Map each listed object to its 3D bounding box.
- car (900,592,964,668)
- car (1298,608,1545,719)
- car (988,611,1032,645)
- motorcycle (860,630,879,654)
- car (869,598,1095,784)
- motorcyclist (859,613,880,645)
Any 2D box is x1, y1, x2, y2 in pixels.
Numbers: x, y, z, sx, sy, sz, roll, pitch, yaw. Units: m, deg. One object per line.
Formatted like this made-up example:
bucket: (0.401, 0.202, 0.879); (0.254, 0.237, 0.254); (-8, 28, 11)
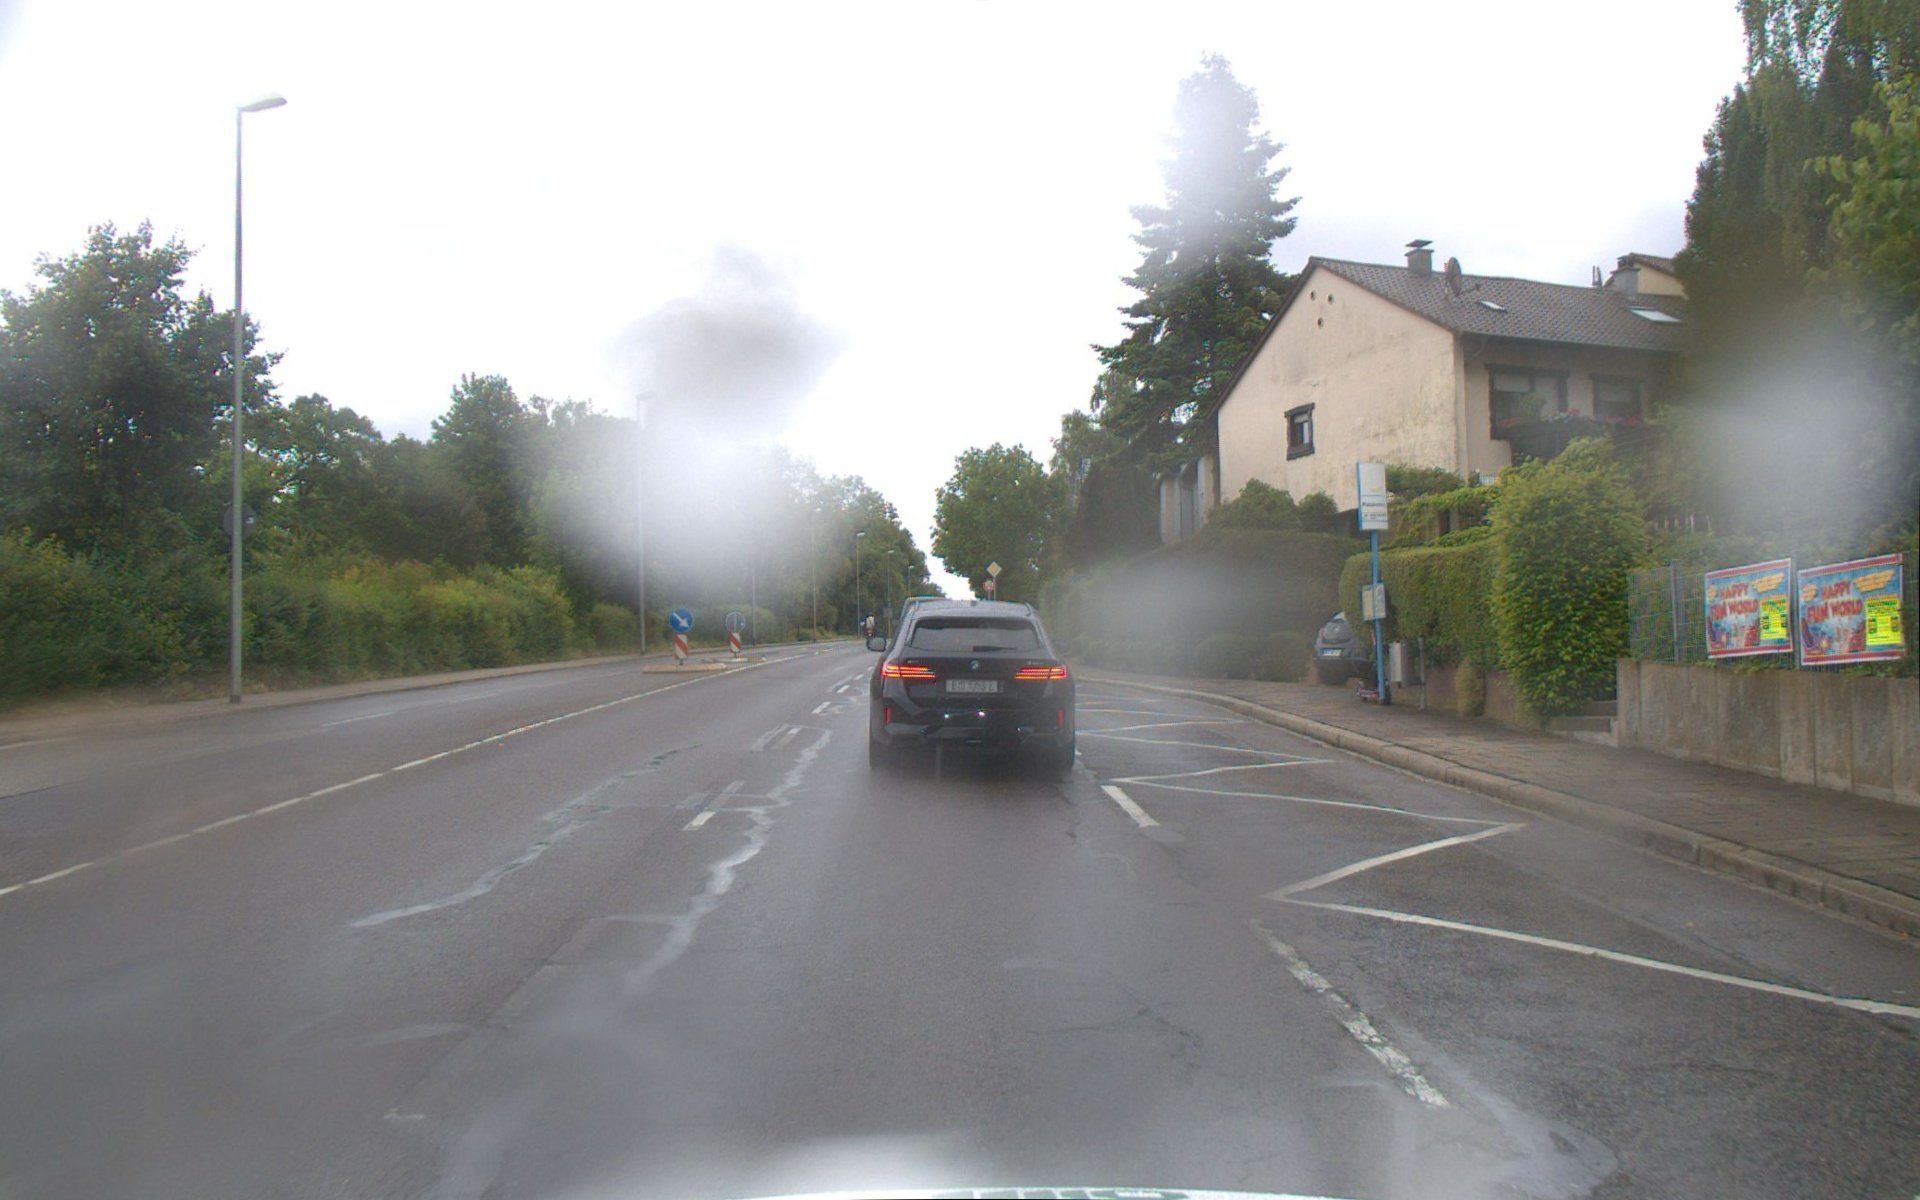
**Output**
car: (-0.749, 0.763, 43.945); (1.596, 1.865, 3.999); (-2, 0, -1)
car: (7.827, 1.100, 28.062); (3.646, 1.320, 1.761); (10, -5, -21)
car: (2.277, 1.273, 75.798); (1.895, 1.467, 4.408); (-2, 0, 1)
motorcycle: (-4.554, 2.115, 83.194); (0.858, 1.144, 2.740); (1, -1, -1)
car: (0.184, 0.772, 15.806); (1.858, 1.515, 4.000); (1, 0, 0)
motorcyclist: (-4.533, 1.467, 83.180); (1.018, 1.595, 0.855); (1, -1, -2)
